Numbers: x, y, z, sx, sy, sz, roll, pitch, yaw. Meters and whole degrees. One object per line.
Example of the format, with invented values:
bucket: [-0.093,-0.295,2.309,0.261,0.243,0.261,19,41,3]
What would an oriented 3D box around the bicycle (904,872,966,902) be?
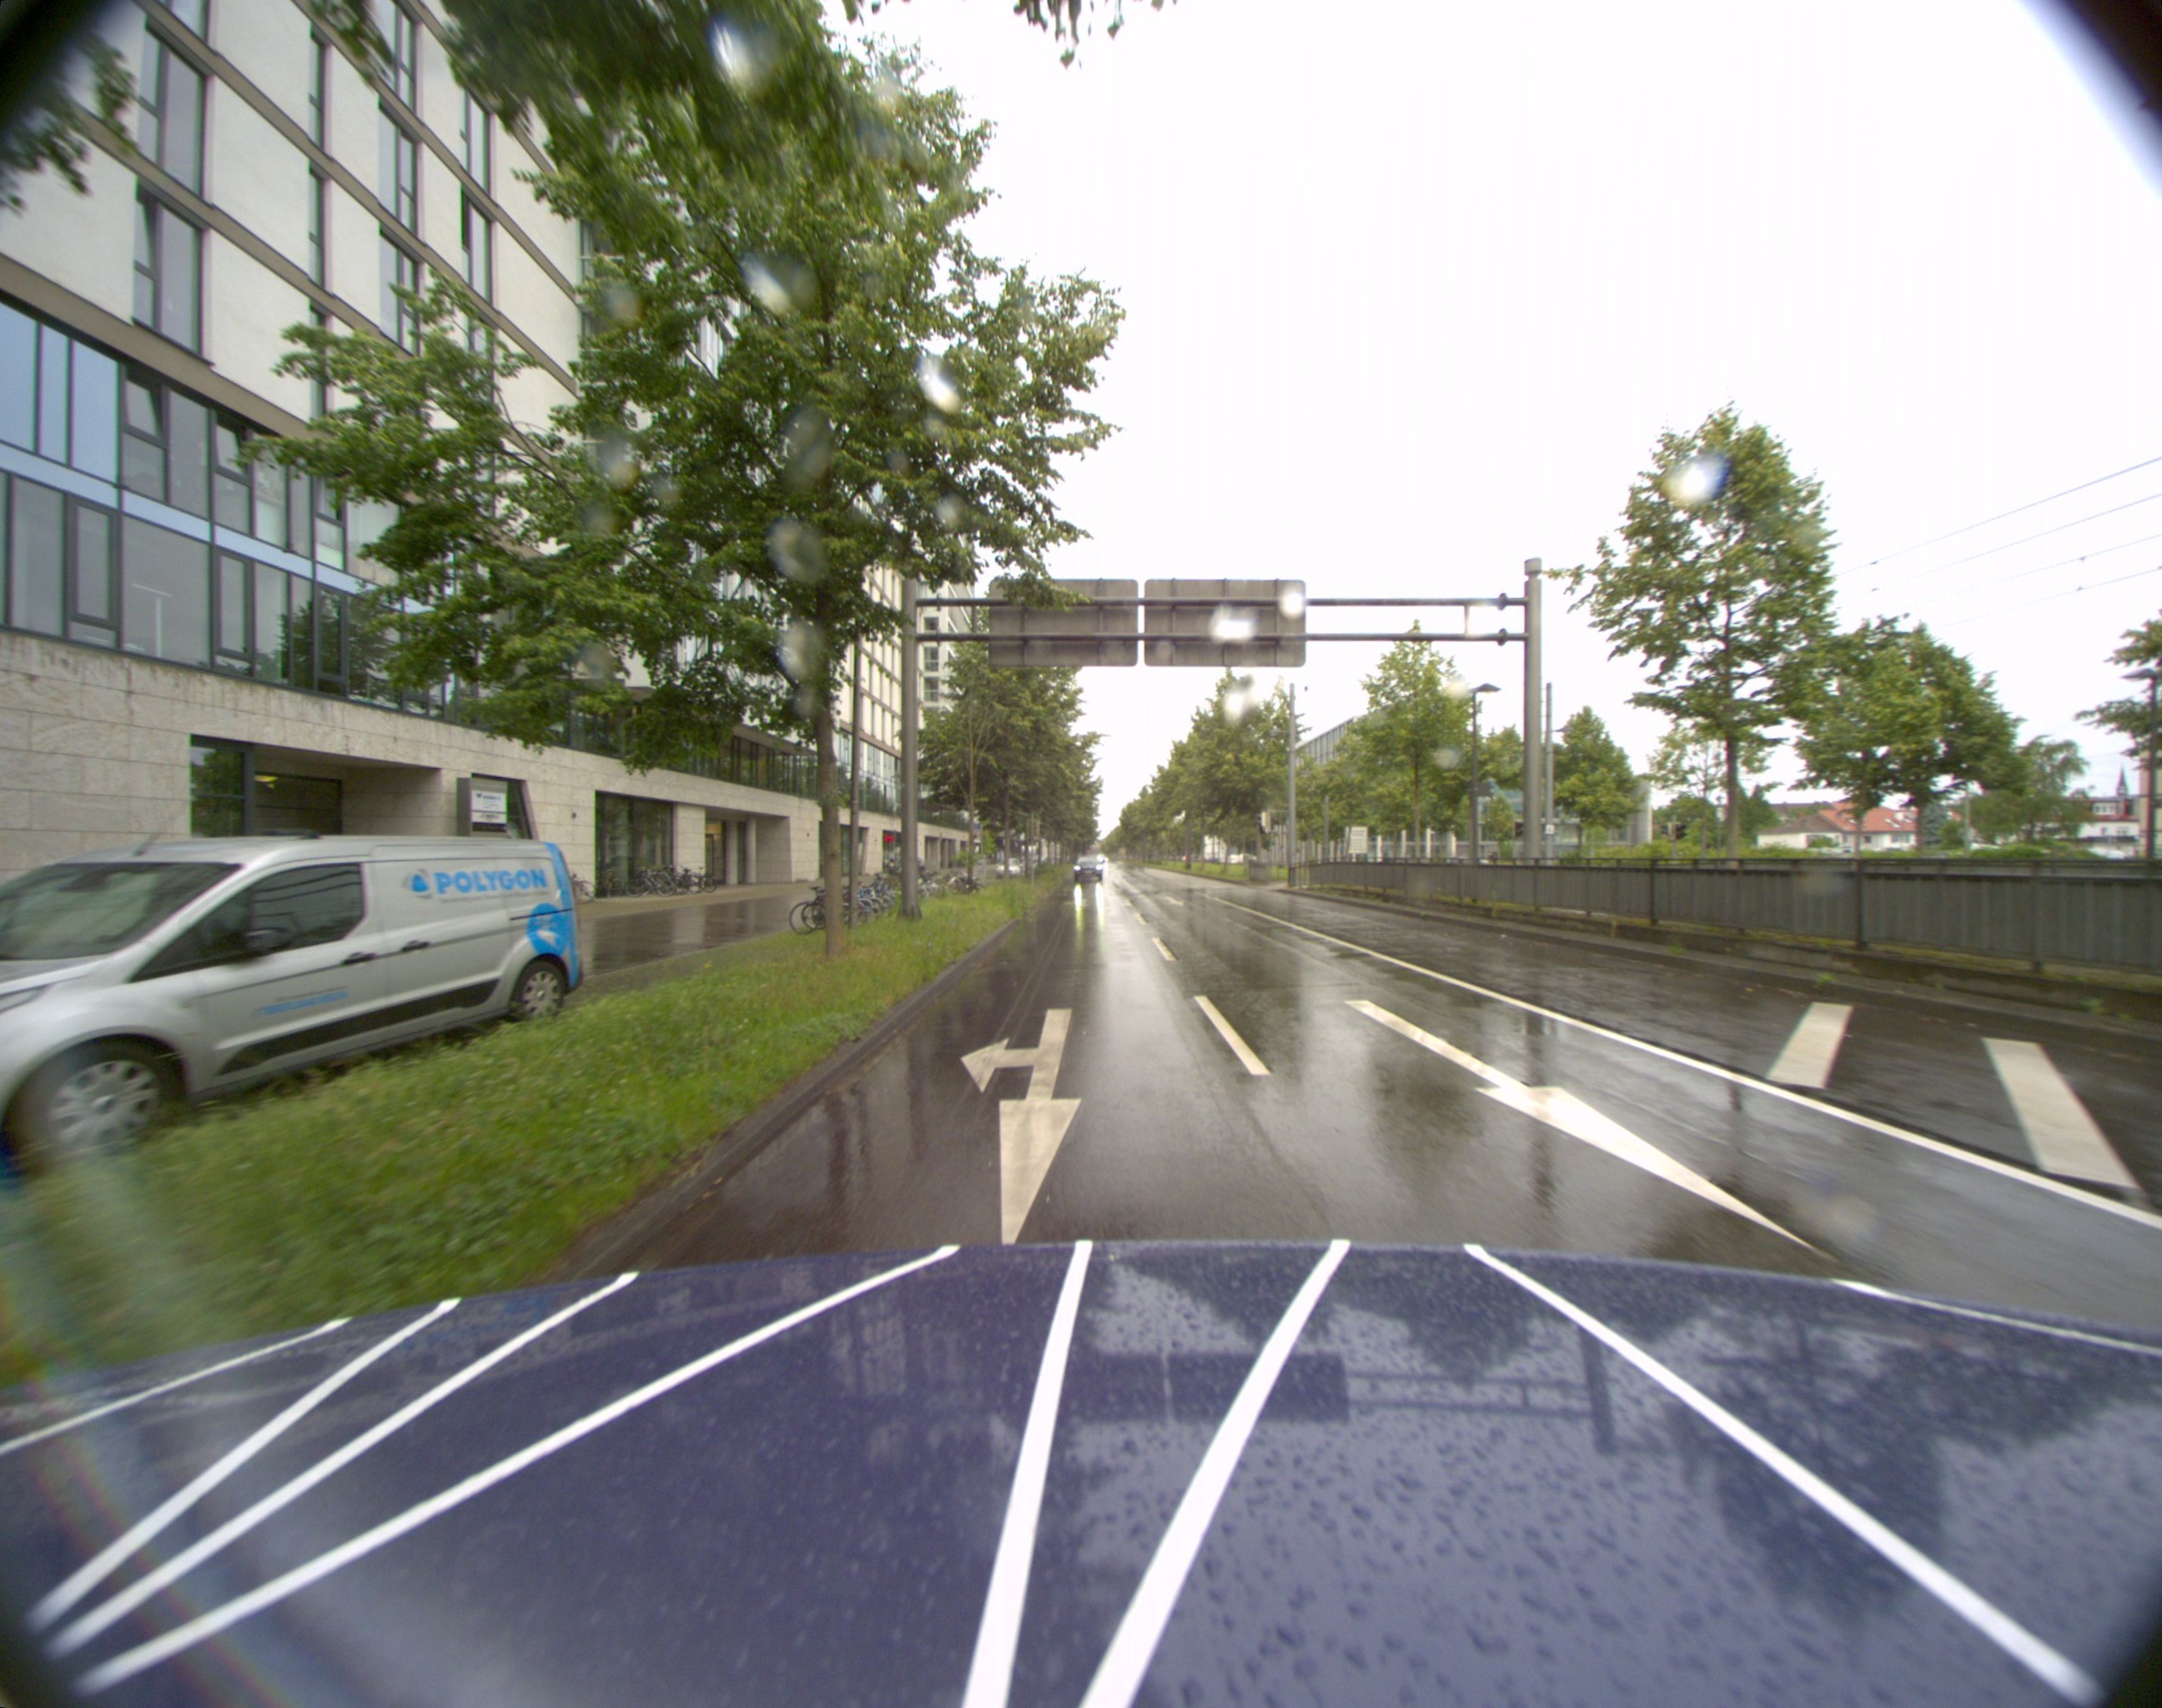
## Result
bicycle: [-5.101,1.134,26.589,2.040,0.940,0.519,-2,1,-3]

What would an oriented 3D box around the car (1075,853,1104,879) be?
car: [0.613,0.794,51.282,1.816,1.603,4.000,-2,1,2]

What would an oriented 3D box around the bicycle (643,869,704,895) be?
bicycle: [-15.336,1.043,28.626,2.029,0.940,0.395,1,1,-3]

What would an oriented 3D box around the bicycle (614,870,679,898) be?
bicycle: [-15.300,1.062,26.752,2.029,0.940,0.395,1,1,-3]

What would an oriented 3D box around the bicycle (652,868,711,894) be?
bicycle: [-15.319,1.045,29.146,2.029,0.940,0.395,1,1,-3]

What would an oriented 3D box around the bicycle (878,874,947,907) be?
bicycle: [-5.367,1.170,24.288,2.040,0.940,0.542,-2,1,-3]

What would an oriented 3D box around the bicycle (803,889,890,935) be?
bicycle: [-5.314,1.313,17.271,1.792,0.940,0.395,-2,1,-3]

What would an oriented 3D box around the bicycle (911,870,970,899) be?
bicycle: [-5.162,1.121,28.004,2.040,0.940,0.519,-2,1,-3]

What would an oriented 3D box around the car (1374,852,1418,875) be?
car: [26.498,0.783,64.094,1.999,1.736,3.999,-2,1,-1]

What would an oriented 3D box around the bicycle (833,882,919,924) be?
bicycle: [-5.104,1.220,18.984,2.007,0.940,0.395,-2,1,-3]

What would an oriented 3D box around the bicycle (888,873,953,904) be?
bicycle: [-5.382,1.156,25.606,2.040,0.940,0.541,-2,1,-3]

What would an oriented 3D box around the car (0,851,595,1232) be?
car: [-5.870,0.874,5.308,1.746,1.749,4.848,-1,1,1]

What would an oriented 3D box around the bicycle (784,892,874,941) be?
bicycle: [-5.291,1.311,15.994,1.698,0.940,0.395,-2,1,-3]

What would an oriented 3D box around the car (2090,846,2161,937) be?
car: [22.522,0.749,14.200,1.999,1.736,3.999,-2,1,-1]

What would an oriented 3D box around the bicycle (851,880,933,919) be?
bicycle: [-4.997,1.202,20.145,2.040,0.940,0.395,-2,1,-3]

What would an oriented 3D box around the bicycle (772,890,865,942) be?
bicycle: [-5.264,1.247,15.277,1.666,0.940,0.395,-2,1,-3]

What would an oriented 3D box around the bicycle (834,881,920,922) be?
bicycle: [-5.200,1.218,19.418,2.040,0.940,0.395,-2,1,-3]

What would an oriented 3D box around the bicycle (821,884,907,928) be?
bicycle: [-5.103,1.220,17.929,1.861,0.940,0.395,-2,1,-3]

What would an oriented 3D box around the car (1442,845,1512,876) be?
car: [23.596,0.359,45.446,1.999,1.736,3.999,-2,1,-1]

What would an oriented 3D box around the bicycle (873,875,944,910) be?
bicycle: [-5.283,1.177,23.331,2.040,0.940,0.466,-2,1,-3]

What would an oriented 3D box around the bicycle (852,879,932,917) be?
bicycle: [-5.140,1.200,20.764,2.040,0.940,0.395,-2,1,-3]

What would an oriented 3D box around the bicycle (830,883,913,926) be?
bicycle: [-5.088,1.220,18.491,1.882,0.940,0.395,-2,1,-3]

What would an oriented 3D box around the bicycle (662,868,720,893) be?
bicycle: [-15.324,1.045,29.878,2.029,0.940,0.395,1,1,-3]

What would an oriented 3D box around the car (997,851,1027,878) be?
car: [-4.899,0.722,54.191,1.658,1.710,3.999,-2,1,1]

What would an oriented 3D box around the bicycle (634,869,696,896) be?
bicycle: [-15.350,1.057,28.046,2.029,0.940,0.395,1,1,-3]

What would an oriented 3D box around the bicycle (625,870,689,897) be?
bicycle: [-15.316,1.060,27.453,2.029,0.940,0.395,1,1,-3]

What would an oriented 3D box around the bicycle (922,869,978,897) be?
bicycle: [-4.982,1.103,28.979,2.040,0.940,0.519,-2,1,-3]

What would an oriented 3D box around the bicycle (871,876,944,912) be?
bicycle: [-5.134,1.181,22.523,2.040,0.940,0.395,-2,1,-3]

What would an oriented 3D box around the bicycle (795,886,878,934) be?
bicycle: [-5.362,1.224,16.705,1.649,0.940,0.395,-2,1,-3]
